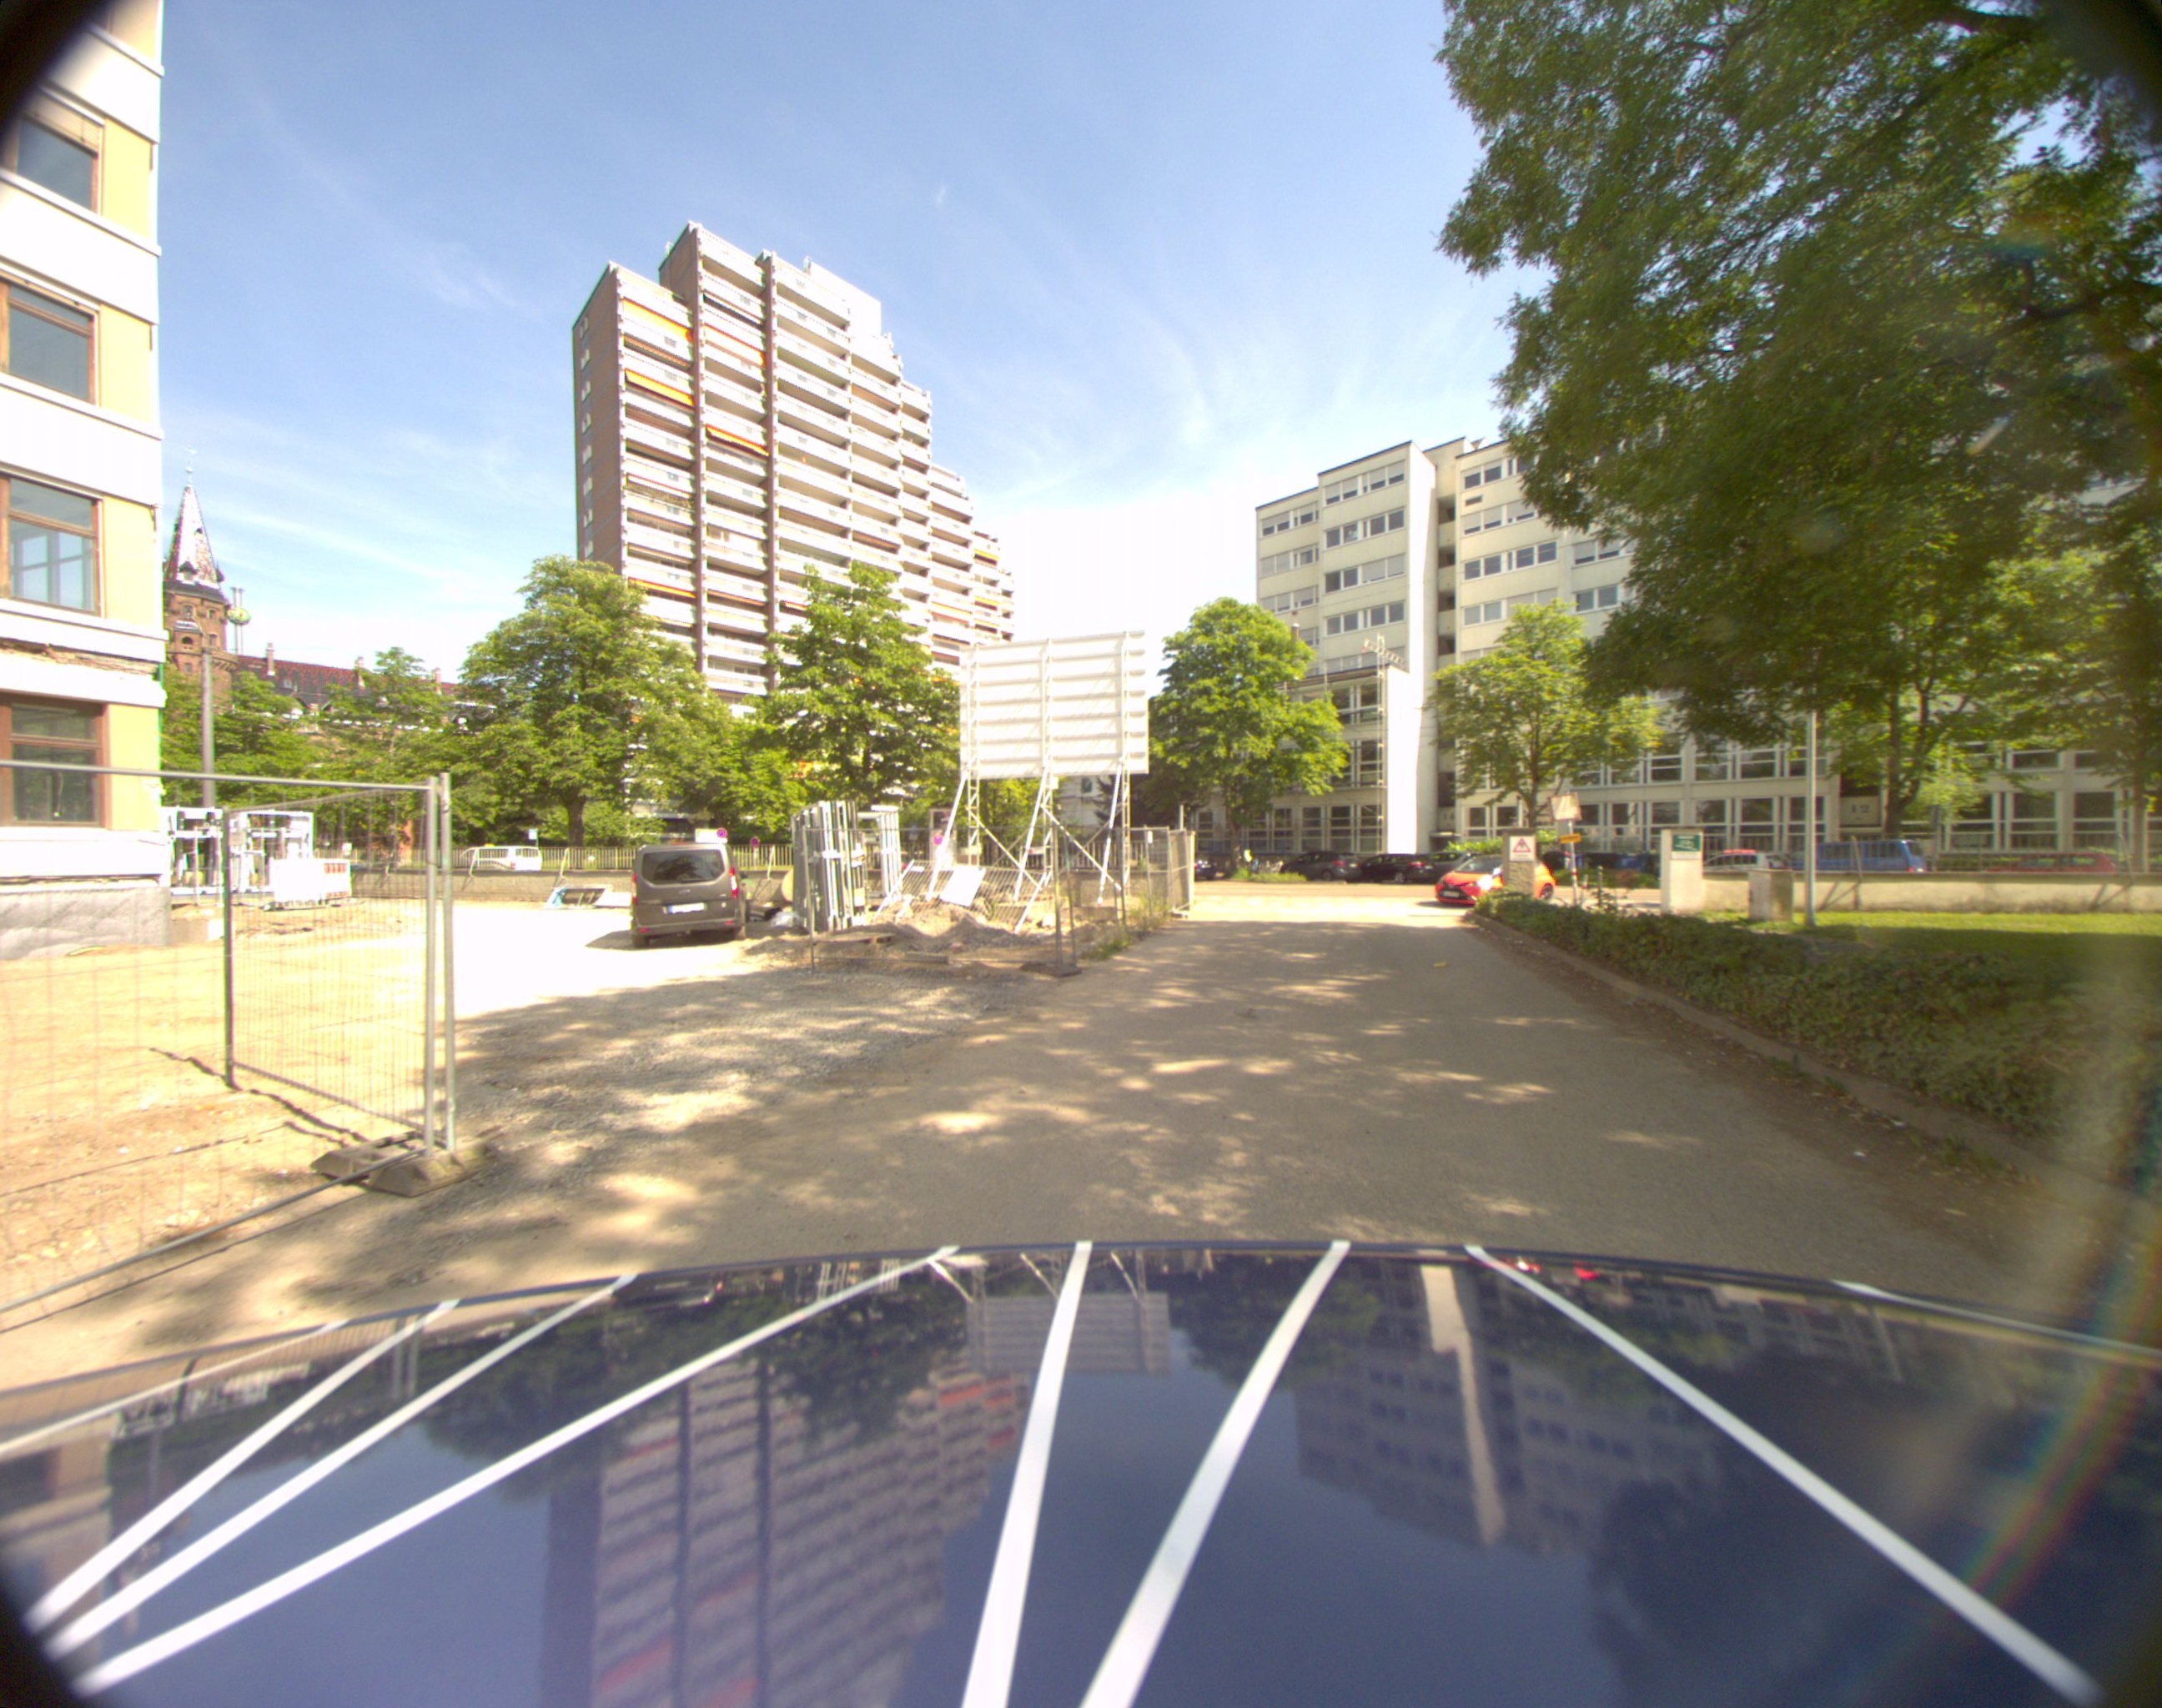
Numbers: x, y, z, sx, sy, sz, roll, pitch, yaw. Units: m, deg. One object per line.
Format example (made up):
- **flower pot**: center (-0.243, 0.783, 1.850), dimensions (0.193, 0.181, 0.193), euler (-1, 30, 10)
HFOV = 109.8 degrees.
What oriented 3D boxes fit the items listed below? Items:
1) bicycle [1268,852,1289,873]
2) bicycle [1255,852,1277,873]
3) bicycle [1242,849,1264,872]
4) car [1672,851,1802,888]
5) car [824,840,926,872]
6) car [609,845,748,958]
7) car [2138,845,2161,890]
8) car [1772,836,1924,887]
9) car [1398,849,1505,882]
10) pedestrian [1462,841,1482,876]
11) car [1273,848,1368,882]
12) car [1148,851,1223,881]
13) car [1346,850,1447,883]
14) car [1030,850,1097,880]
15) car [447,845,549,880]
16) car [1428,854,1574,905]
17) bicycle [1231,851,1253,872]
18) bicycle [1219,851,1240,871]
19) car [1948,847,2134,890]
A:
- **bicycle**: center (11.500, 0.491, 44.285), dimensions (0.488, 1.193, 2.021), euler (0, 1, 36)
- **bicycle**: center (10.878, 0.468, 44.632), dimensions (0.488, 1.193, 2.021), euler (0, 1, 36)
- **bicycle**: center (10.257, 0.375, 45.194), dimensions (0.488, 1.370, 2.021), euler (0, 1, 36)
- **car**: center (27.589, 0.595, 32.112), dimensions (1.711, 1.455, 3.844), euler (0, 0, -17)
- **car**: center (-9.916, 0.112, 36.620), dimensions (4.381, 1.512, 1.946), euler (0, 0, 17)
- **car**: center (-7.511, 0.742, 14.590), dimensions (1.924, 1.770, 4.303), euler (-2, 1, -23)
- **car**: center (40.658, 0.470, 26.653), dimensions (1.806, 1.630, 3.991), euler (0, 0, -29)
- **car**: center (30.832, 0.311, 30.668), dimensions (1.790, 1.895, 3.991), euler (0, 0, -29)
- **car**: center (17.477, 0.509, 36.091), dimensions (1.805, 1.477, 4.330), euler (-1, 0, -28)
- **pedestrian**: center (19.963, 0.235, 38.831), dimensions (0.752, 1.766, 0.732), euler (0, 1, 15)
- **car**: center (11.690, 0.498, 37.349), dimensions (1.811, 1.556, 4.380), euler (-1, 0, -30)
- **car**: center (5.284, 0.563, 38.945), dimensions (1.657, 1.443, 3.990), euler (-1, 1, -31)
- **car**: center (14.958, 0.537, 36.236), dimensions (1.804, 1.467, 4.175), euler (-1, 0, -31)
- **car**: center (-0.997, 0.545, 40.823), dimensions (1.845, 1.402, 4.136), euler (-2, 3, -29)
- **car**: center (-33.590, 0.484, 43.790), dimensions (5.238, 1.934, 1.999), euler (0, 0, 17)
- **car**: center (12.421, 0.707, 22.428), dimensions (4.181, 1.404, 1.659), euler (0, 0, -26)
- **bicycle**: center (9.675, 0.444, 45.612), dimensions (0.488, 1.193, 2.021), euler (0, 1, 36)
- **bicycle**: center (8.985, 0.416, 46.014), dimensions (0.488, 1.193, 2.021), euler (0, 1, 35)
- **car**: center (36.805, 0.525, 29.271), dimensions (1.785, 1.529, 4.210), euler (0, -1, -29)
